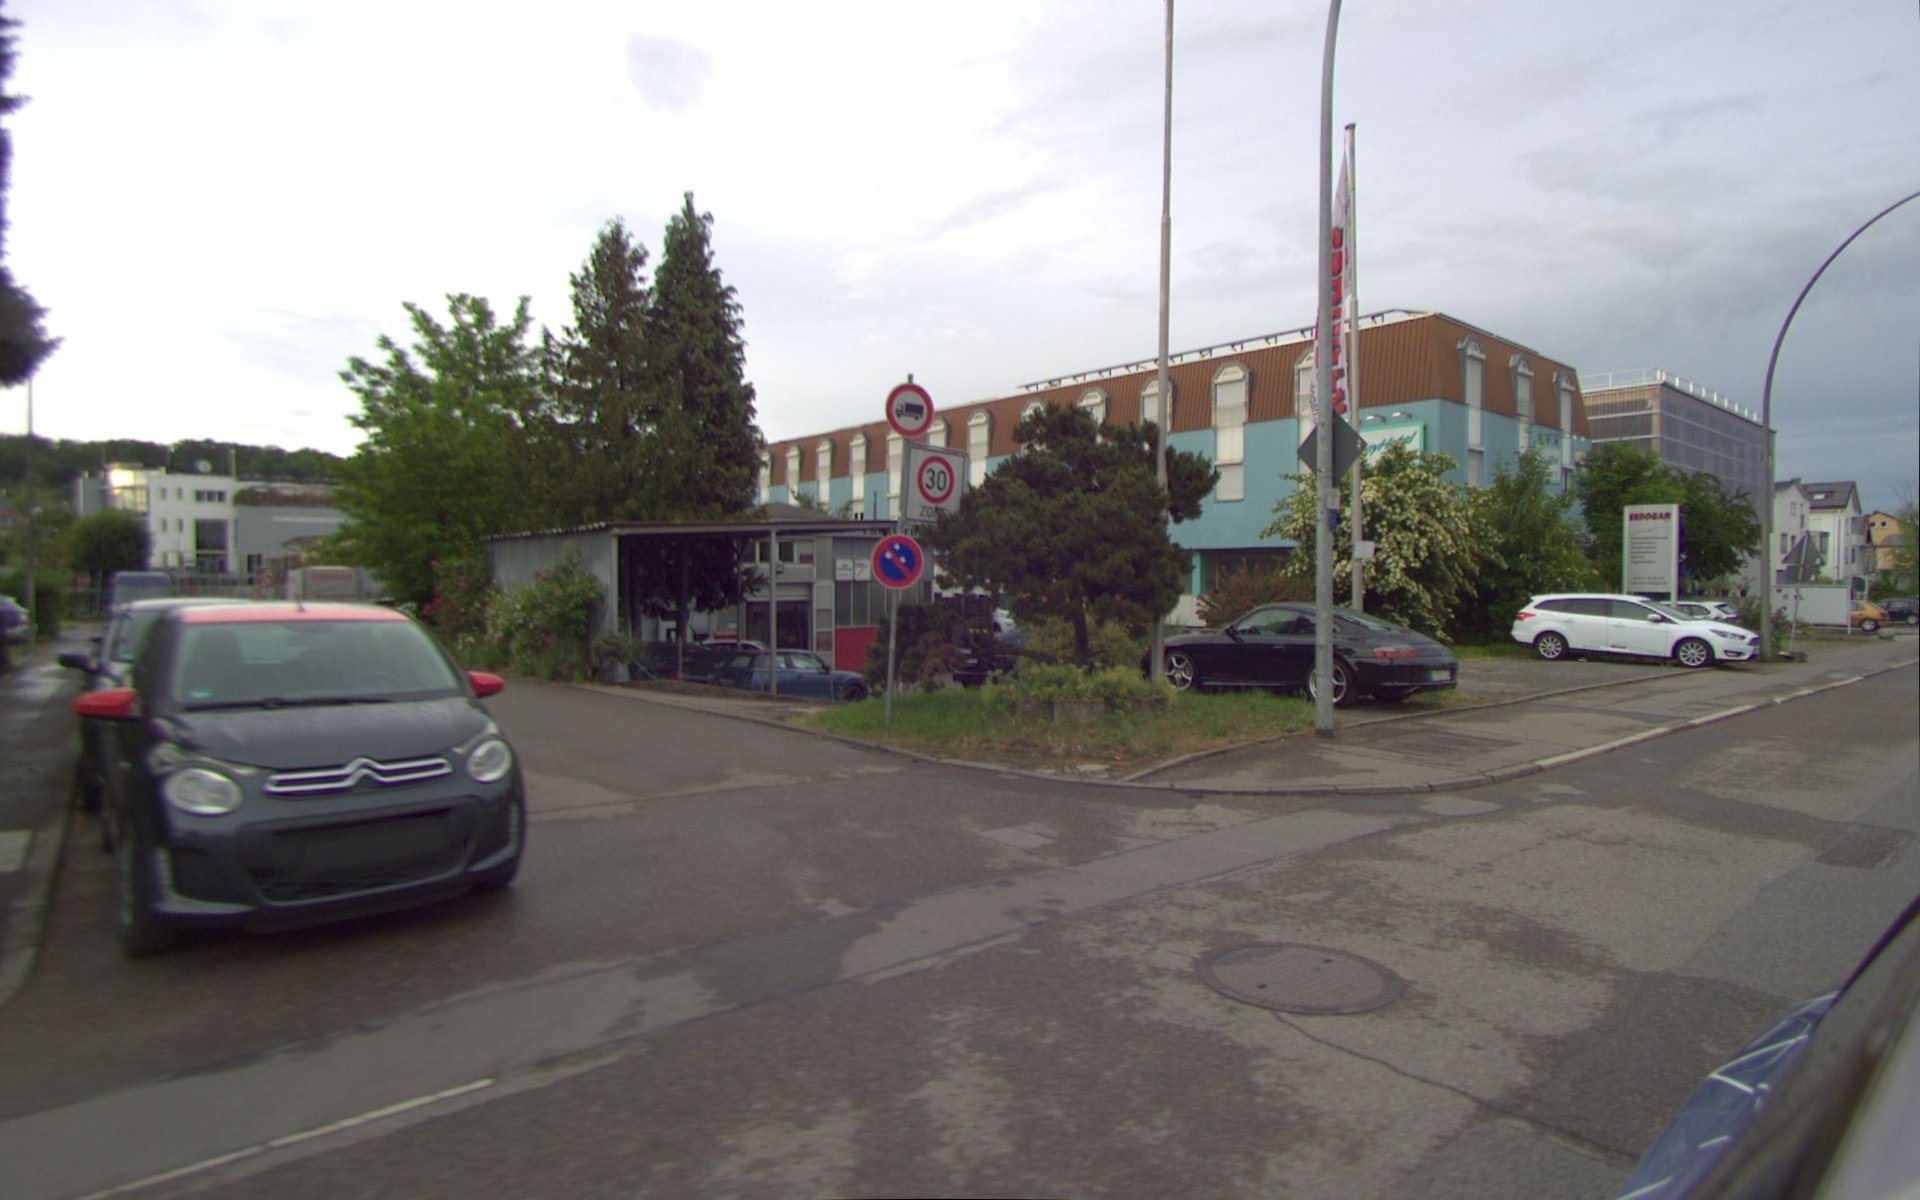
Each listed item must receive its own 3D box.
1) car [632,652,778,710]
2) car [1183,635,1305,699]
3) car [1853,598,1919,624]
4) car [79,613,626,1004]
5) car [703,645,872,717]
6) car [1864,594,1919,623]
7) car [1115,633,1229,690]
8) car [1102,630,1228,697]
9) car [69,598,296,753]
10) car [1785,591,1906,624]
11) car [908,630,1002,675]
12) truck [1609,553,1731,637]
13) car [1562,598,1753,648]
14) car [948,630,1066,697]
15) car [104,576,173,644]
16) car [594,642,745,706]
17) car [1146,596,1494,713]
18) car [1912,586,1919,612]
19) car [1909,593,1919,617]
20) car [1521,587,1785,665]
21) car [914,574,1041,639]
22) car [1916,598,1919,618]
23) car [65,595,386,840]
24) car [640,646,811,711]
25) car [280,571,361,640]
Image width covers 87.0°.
[{"bbox_3d":[-7.663,2.424,30.581,3.892,1.524,1.853,-1,0,5],"label":"car"},{"bbox_3d":[8.361,1.905,29.703,3.594,1.605,1.801,-1,0,-42],"label":"car"},{"bbox_3d":[56.810,0.649,61.190,1.800,1.509,3.975,0,0,-38],"label":"car"},{"bbox_3d":[-3.594,0.745,5.597,1.917,1.282,3.992,-1,0,-41],"label":"car"},{"bbox_3d":[-3.798,1.751,22.657,1.584,1.282,3.503,-1,0,43],"label":"car"},{"bbox_3d":[58.654,0.520,62.310,1.946,1.696,4.233,-1,0,-40],"label":"car"},{"bbox_3d":[6.528,1.836,30.985,3.466,1.494,1.666,-1,0,-41],"label":"car"},{"bbox_3d":[5.339,1.589,26.199,3.227,1.494,1.620,-1,0,-43],"label":"car"},{"bbox_3d":[-9.539,0.786,12.308,1.910,1.527,3.949,-1,0,-41],"label":"car"},{"bbox_3d":[40.521,0.316,46.368,1.602,1.448,3.993,0,0,-41],"label":"car"},{"bbox_3d":[-0.183,2.036,39.786,3.466,1.523,1.666,-1,0,-41],"label":"car"},{"bbox_3d":[34.011,-0.184,48.553,2.674,3.721,4.147,-1,-3,-42],"label":"truck"},{"bbox_3d":[20.920,0.672,30.487,1.848,1.410,4.421,0,-1,-42],"label":"car"},{"bbox_3d":[1.395,1.797,29.487,3.227,1.674,1.642,-1,0,-43],"label":"car"},{"bbox_3d":[-32.119,0.382,39.523,1.910,2.504,4.372,-1,0,-41],"label":"car"},{"bbox_3d":[-7.560,1.877,26.511,1.723,1.393,3.429,-1,0,41],"label":"car"},{"bbox_3d":[4.658,0.636,13.582,1.915,1.282,3.996,-1,0,-38],"label":"car"},{"bbox_3d":[71.435,-0.098,72.278,1.965,1.910,4.740,-1,0,-40],"label":"car"},{"bbox_3d":[67.636,0.337,68.751,1.860,1.645,4.452,-1,0,-40],"label":"car"},{"bbox_3d":[14.772,0.499,21.763,1.870,1.494,4.345,-1,0,-40],"label":"car"},{"bbox_3d":[0.702,0.315,45.790,2.407,2.744,5.936,-1,0,-41],"label":"car"},{"bbox_3d":[69.979,0.539,70.769,1.818,1.396,4.327,-1,0,-40],"label":"car"},{"bbox_3d":[-6.274,0.777,8.498,1.828,1.558,3.619,-1,0,-41],"label":"car"},{"bbox_3d":[-5.652,1.856,24.692,1.810,1.250,3.738,-1,0,41],"label":"car"},{"bbox_3d":[-30.452,0.257,48.094,2.592,3.043,6.051,-1,0,-38],"label":"car"}]
